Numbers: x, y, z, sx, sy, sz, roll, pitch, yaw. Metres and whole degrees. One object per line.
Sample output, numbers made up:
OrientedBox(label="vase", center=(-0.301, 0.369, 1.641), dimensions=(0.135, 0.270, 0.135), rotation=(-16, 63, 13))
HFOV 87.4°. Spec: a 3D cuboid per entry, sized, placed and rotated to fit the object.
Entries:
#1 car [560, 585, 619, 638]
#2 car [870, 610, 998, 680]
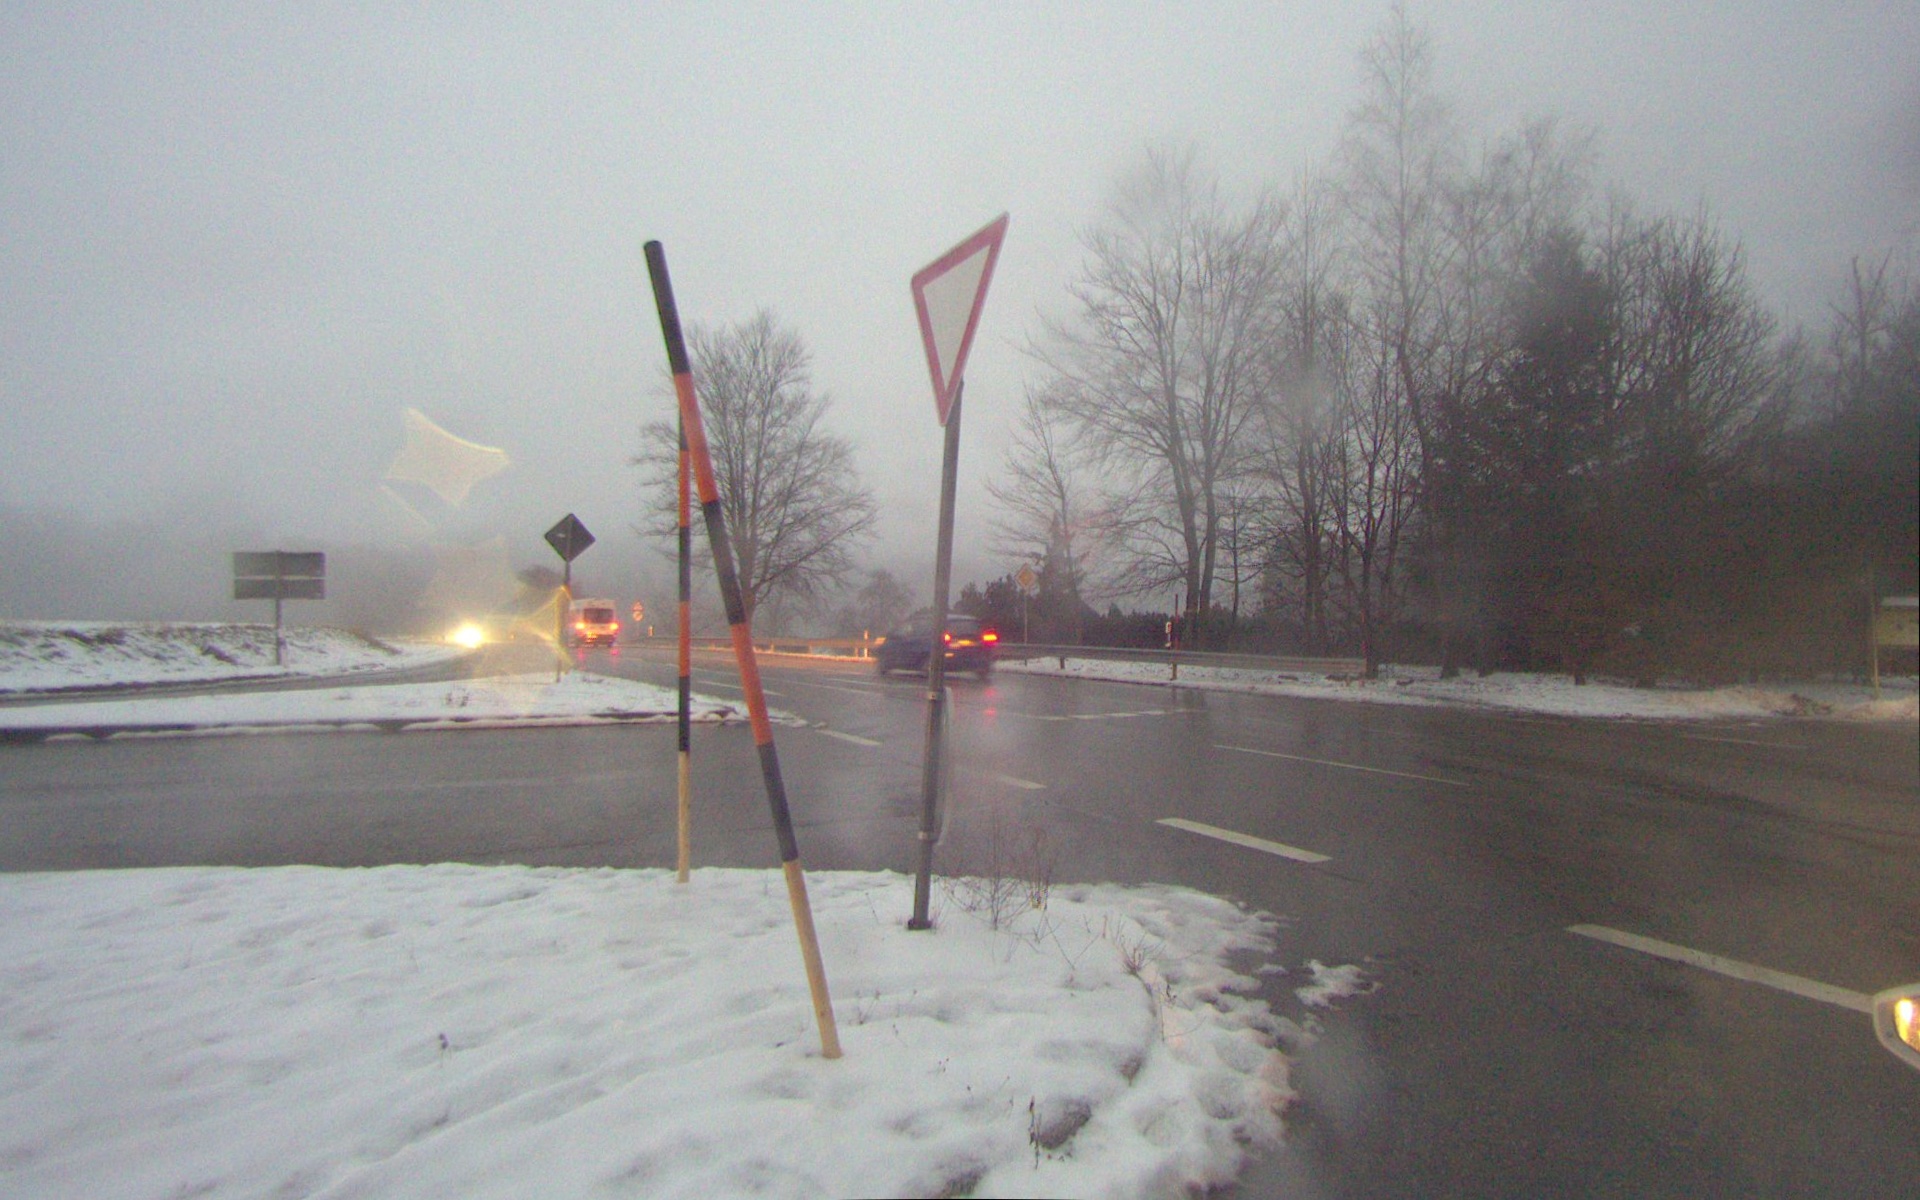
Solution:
OrientedBox(label="car", center=(-21.157, 0.581, 57.221), dimensions=(2.129, 2.731, 5.483), rotation=(3, 0, -31))
OrientedBox(label="car", center=(-0.726, 1.076, 24.727), dimensions=(1.676, 1.572, 3.830), rotation=(2, -2, -26))
